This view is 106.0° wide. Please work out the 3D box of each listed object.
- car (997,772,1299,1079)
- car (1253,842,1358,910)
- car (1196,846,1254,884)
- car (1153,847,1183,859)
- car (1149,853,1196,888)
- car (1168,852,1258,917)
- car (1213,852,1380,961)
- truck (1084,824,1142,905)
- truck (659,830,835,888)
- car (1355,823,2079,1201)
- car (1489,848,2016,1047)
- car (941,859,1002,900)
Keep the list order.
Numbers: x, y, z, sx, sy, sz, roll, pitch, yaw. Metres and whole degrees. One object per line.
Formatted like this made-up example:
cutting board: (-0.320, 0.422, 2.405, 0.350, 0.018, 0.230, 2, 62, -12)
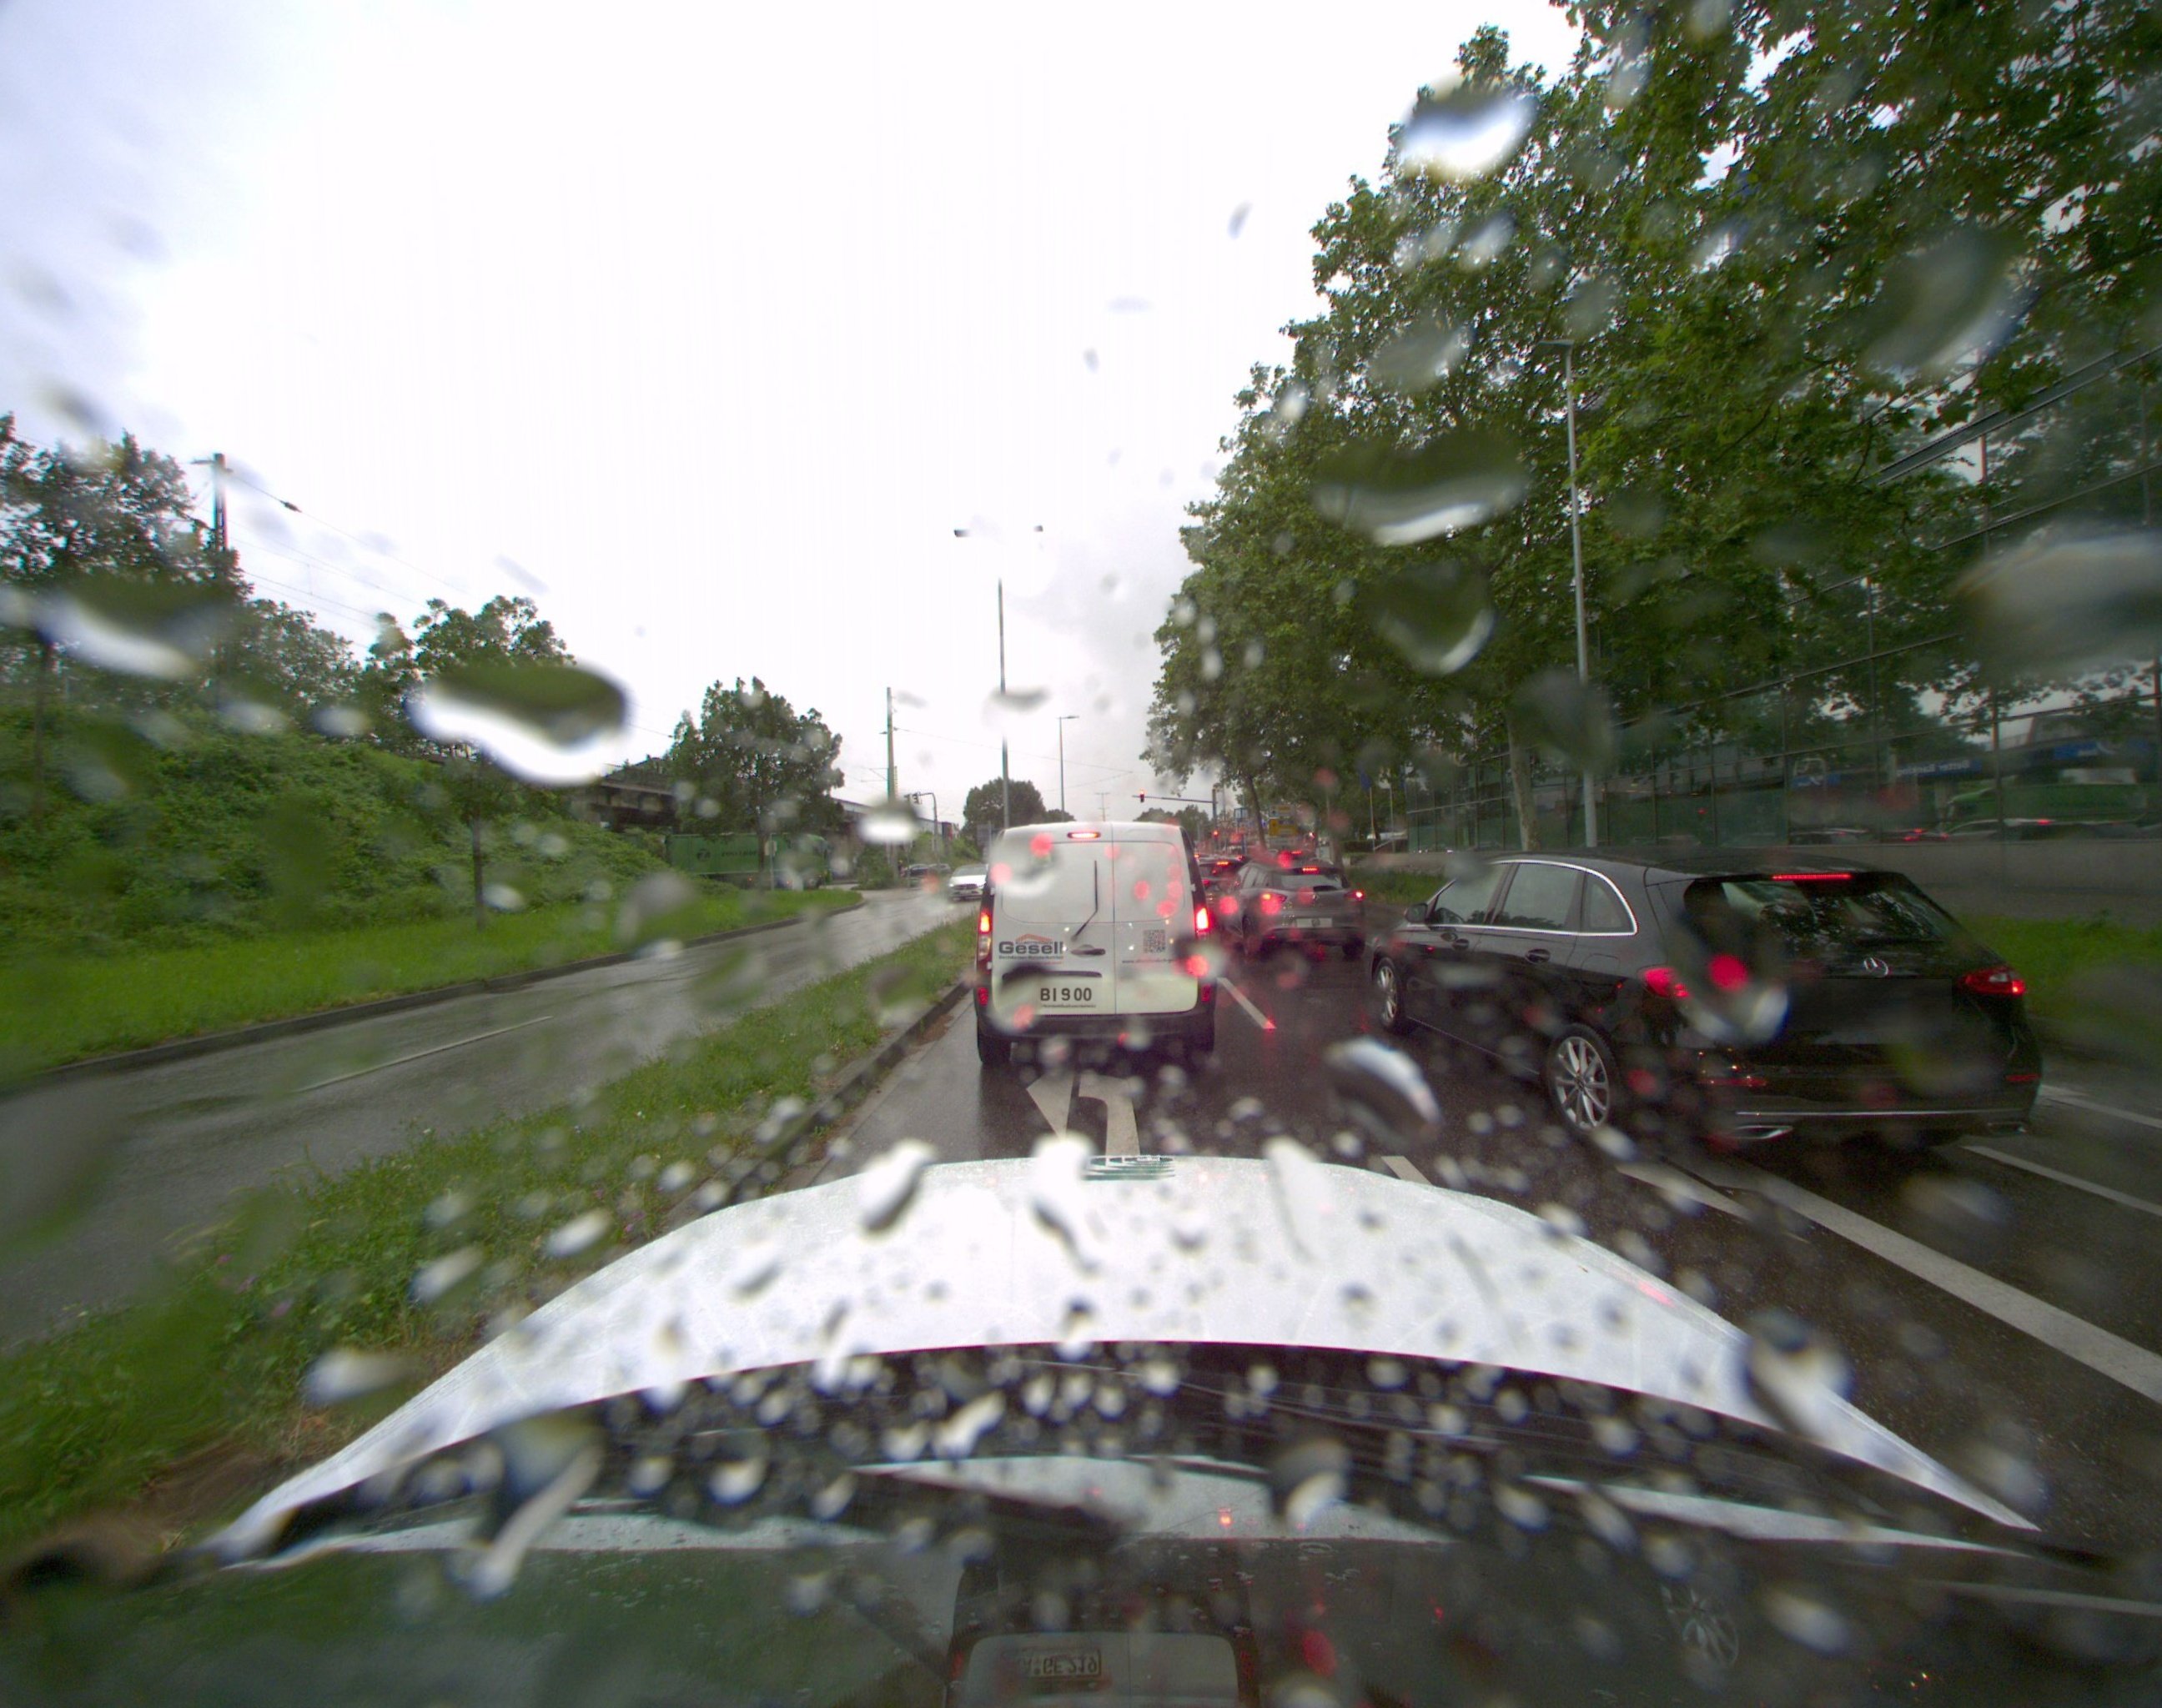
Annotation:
car: (0.455, 0.492, 7.443, 1.987, 2.014, 3.999, -1, -1, 0)
car: (6.281, 0.587, 23.249, 1.850, 1.726, 4.190, -1, -1, 0)
car: (6.262, 0.477, 35.796, 1.833, 1.537, 4.111, -1, -1, 1)
car: (12.866, -0.108, 120.220, 3.951, 1.713, 1.783, -2, -2, 23)
car: (3.971, 0.682, 35.827, 1.705, 1.445, 4.001, -1, 0, 2)
car: (3.228, 0.683, 20.622, 1.705, 1.445, 4.001, -1, 0, 2)
car: (3.270, 0.706, 13.119, 1.705, 1.445, 4.001, -1, 0, 2)
truck: (1.003, 0.351, 27.153, 1.751, 2.466, 3.999, -1, -1, 0)
truck: (-21.328, 0.374, 52.435, 10.184, 3.452, 2.629, 0, -2, -36)
car: (3.359, 0.644, 5.431, 1.703, 1.550, 4.000, -1, 1, 0)
car: (6.091, 0.716, 8.260, 1.796, 1.430, 4.388, -2, -1, 2)
car: (-4.582, 1.029, 34.557, 1.819, 1.568, 4.002, -3, -1, 2)
